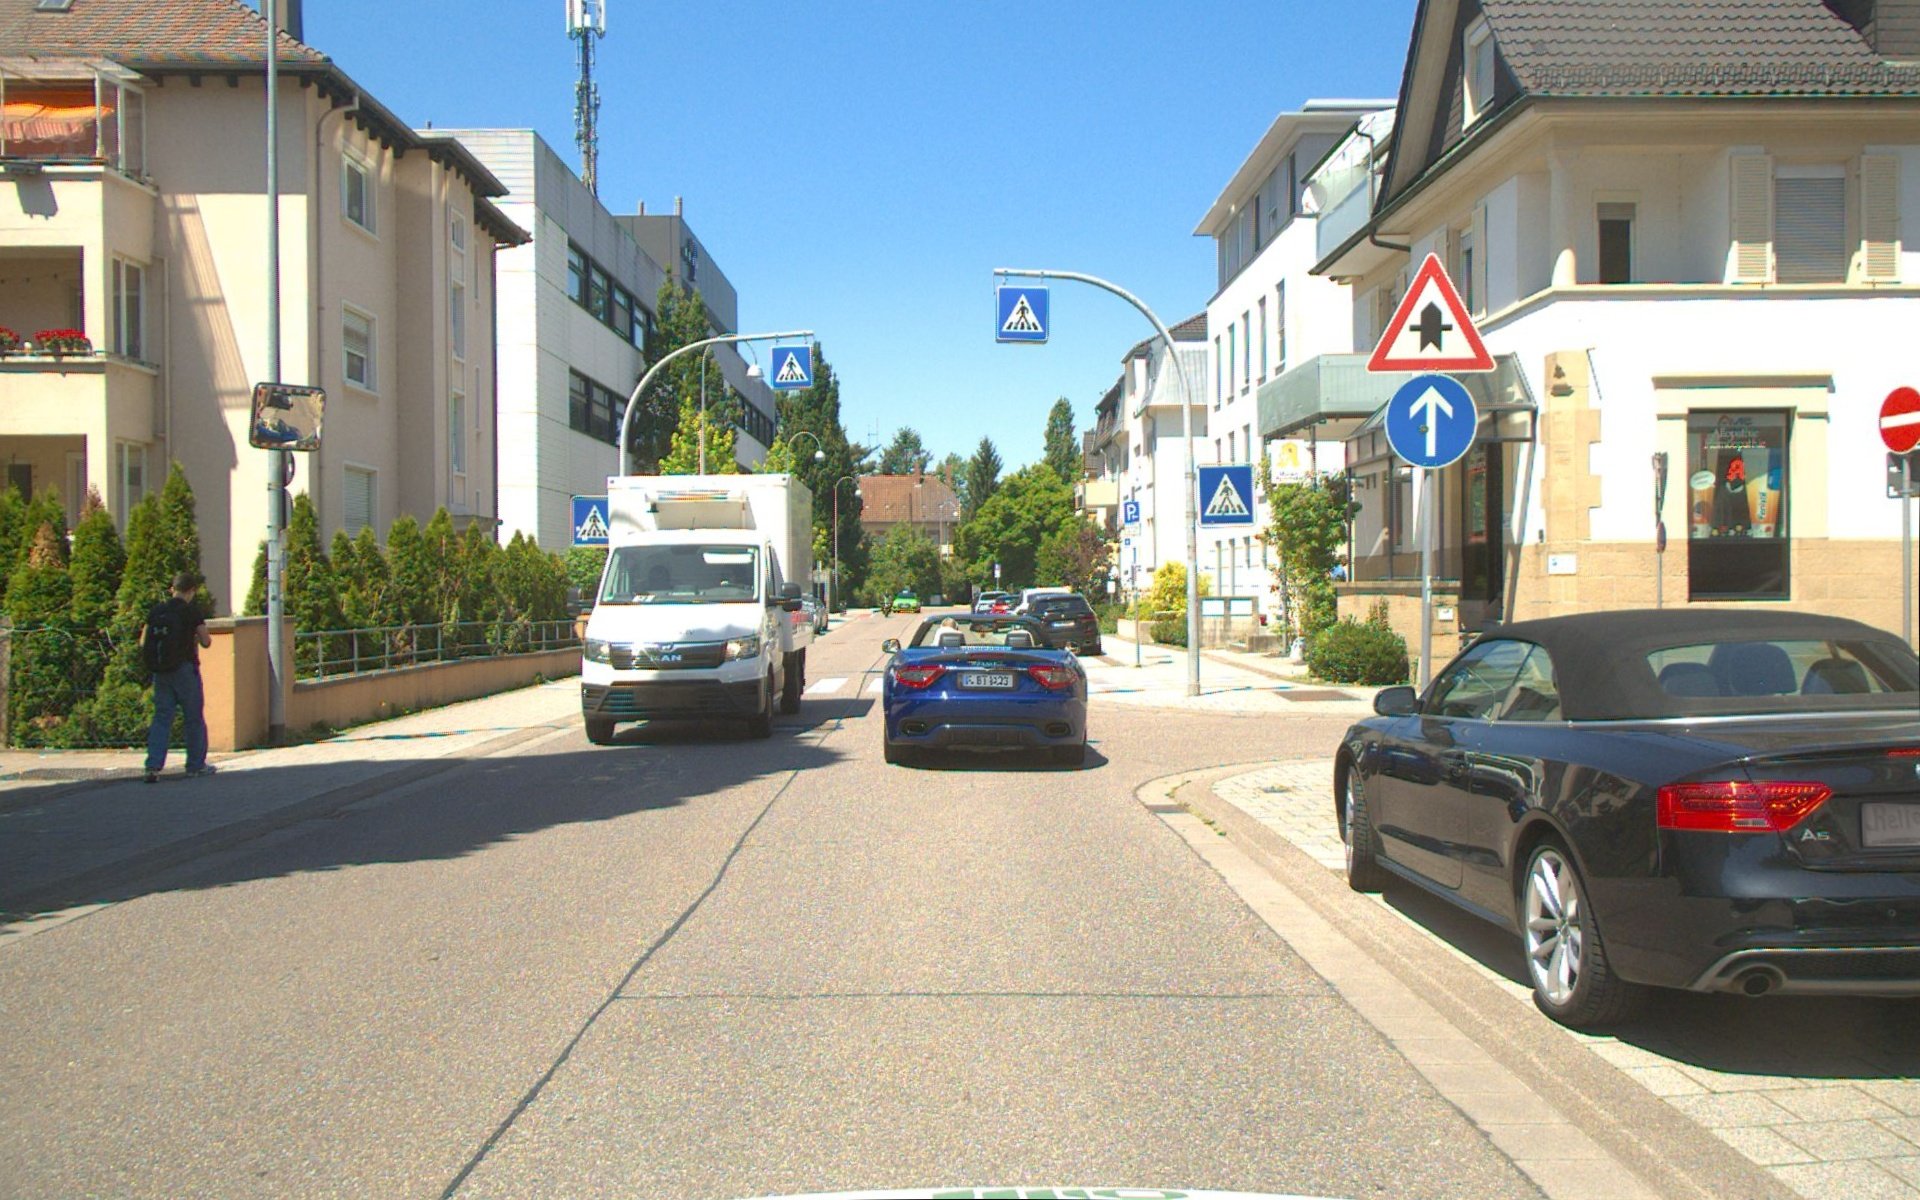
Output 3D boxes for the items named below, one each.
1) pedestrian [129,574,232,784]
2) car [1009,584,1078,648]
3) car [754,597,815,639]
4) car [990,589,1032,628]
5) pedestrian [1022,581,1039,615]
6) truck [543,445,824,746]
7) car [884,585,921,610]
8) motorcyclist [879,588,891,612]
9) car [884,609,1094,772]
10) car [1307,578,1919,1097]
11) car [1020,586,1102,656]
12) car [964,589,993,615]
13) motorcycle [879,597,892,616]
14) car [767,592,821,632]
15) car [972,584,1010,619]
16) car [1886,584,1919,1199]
[{"bbox_3d":[-6.526,0.642,13.866,0.525,1.714,0.708,0,0,-1],"label":"pedestrian"},{"bbox_3d":[2.309,0.406,46.746,1.670,1.695,4.579,-1,0,-1],"label":"car"},{"bbox_3d":[-6.416,0.621,60.745,1.785,1.436,4.576,1,0,-1],"label":"car"},{"bbox_3d":[2.082,0.324,68.032,1.571,1.466,3.853,-4,0,0],"label":"car"},{"bbox_3d":[3.680,-0.110,85.955,0.725,1.698,0.705,-3,0,-2],"label":"pedestrian"},{"bbox_3d":[-3.092,-0.064,20.075,2.370,3.035,6.257,-1,0,-1],"label":"truck"},{"bbox_3d":[-4.140,-0.168,118.827,1.792,1.616,4.084,1,1,-15],"label":"car"},{"bbox_3d":[-4.706,0.017,103.742,0.684,1.458,0.707,-2,0,-1],"label":"motorcyclist"},{"bbox_3d":[0.218,0.785,16.502,1.789,1.360,4.699,0,0,-1],"label":"car"},{"bbox_3d":[2.945,0.675,7.164,1.790,1.451,4.699,-2,0,-1],"label":"car"},{"bbox_3d":[2.421,0.472,40.590,1.670,1.583,4.747,-1,0,-1],"label":"car"},{"bbox_3d":[1.098,0.110,99.664,1.599,1.471,4.397,-3,0,-1],"label":"car"},{"bbox_3d":[-4.692,0.396,103.940,0.684,1.126,1.790,-2,0,-1],"label":"motorcycle"},{"bbox_3d":[-6.589,0.455,65.990,1.785,1.538,4.289,0,0,-1],"label":"car"},{"bbox_3d":[1.574,0.060,85.398,1.806,1.647,4.427,-3,0,0],"label":"car"},{"bbox_3d":[2.936,0.670,1.188,1.708,1.494,4.851,-3,0,-1],"label":"car"}]
